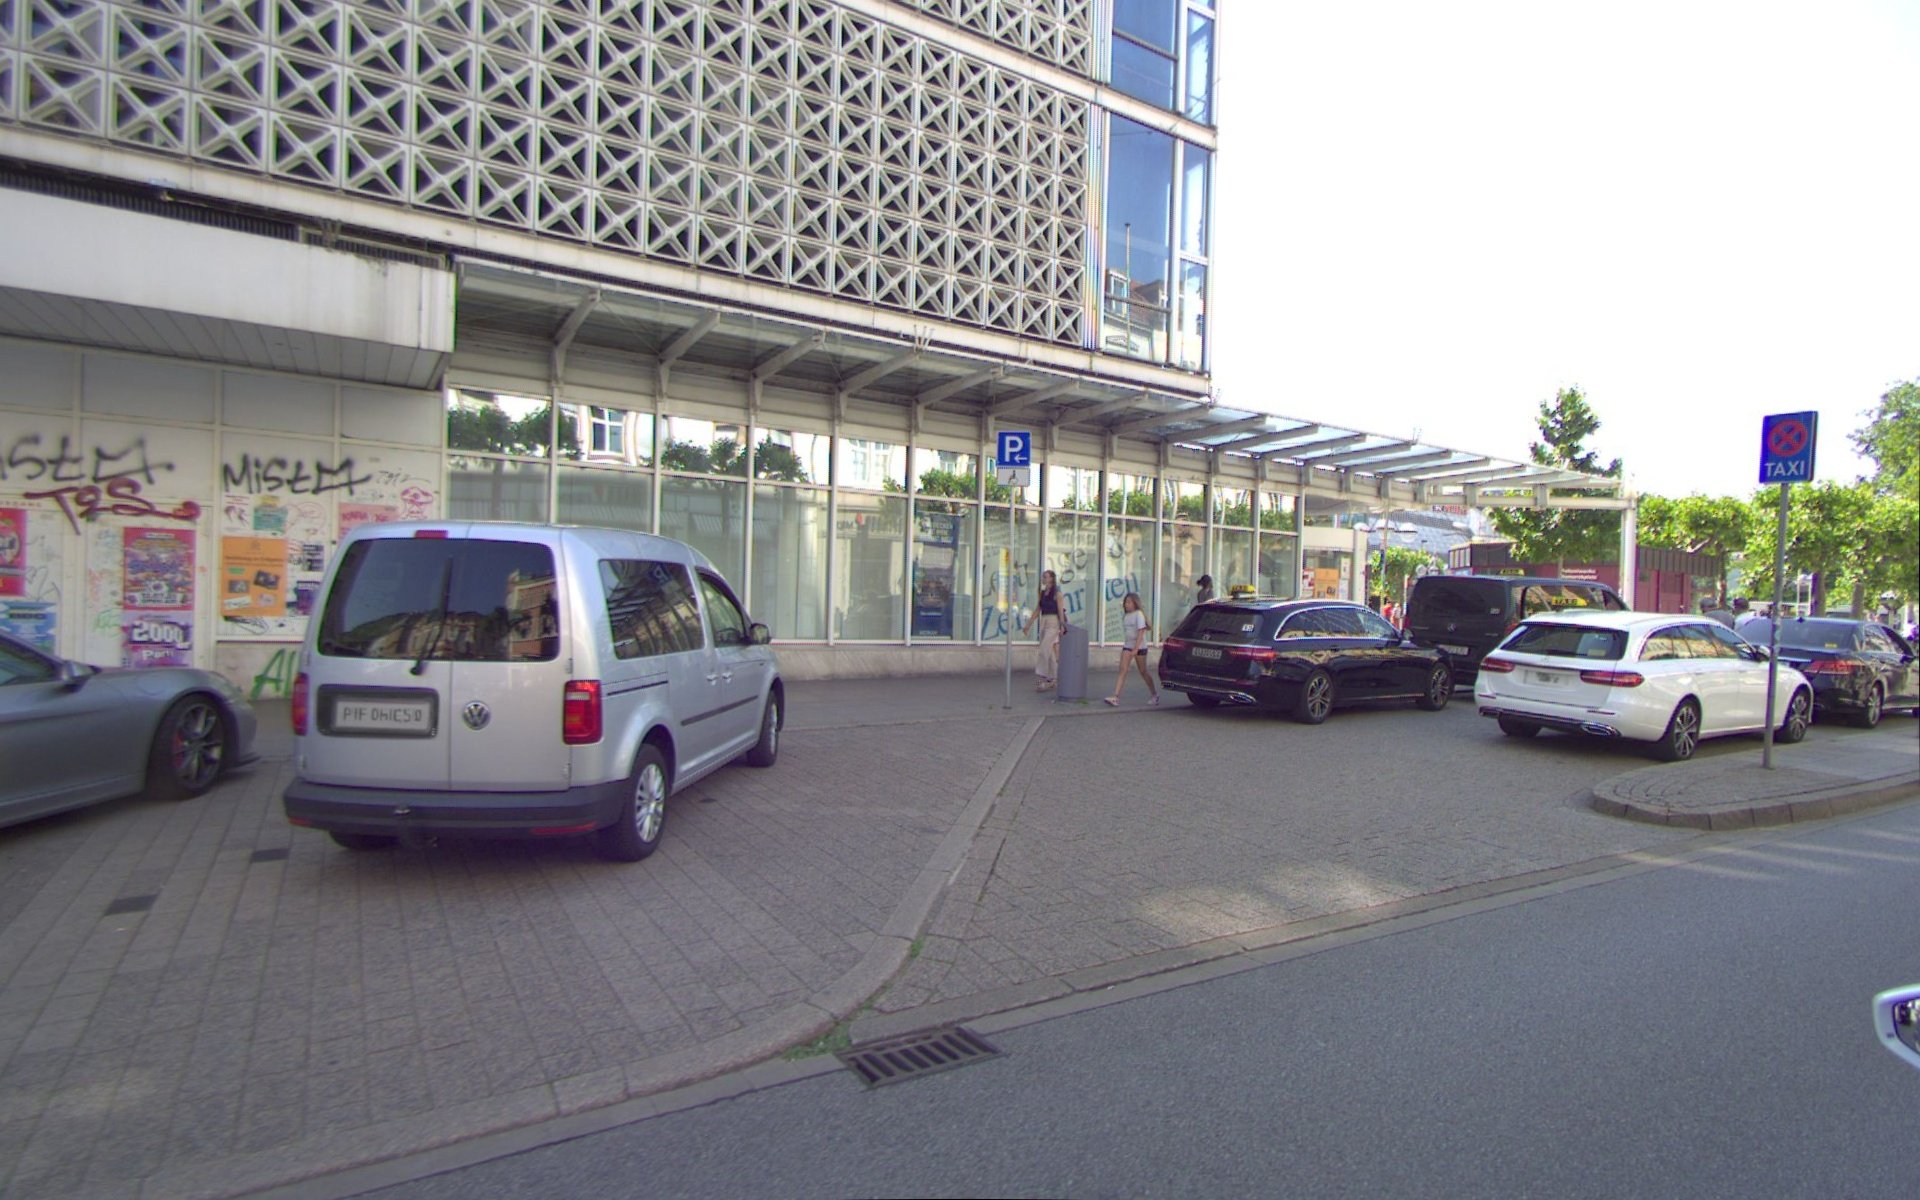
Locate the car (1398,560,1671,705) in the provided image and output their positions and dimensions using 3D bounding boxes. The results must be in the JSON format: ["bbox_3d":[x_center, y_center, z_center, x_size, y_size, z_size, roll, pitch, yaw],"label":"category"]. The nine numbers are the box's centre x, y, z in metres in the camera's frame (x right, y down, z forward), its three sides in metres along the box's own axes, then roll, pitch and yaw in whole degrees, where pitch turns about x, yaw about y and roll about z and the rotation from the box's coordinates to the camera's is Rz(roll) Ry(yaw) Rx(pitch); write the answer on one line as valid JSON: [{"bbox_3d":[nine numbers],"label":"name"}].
[{"bbox_3d":[9.305,0.490,16.165,4.633,2.040,1.822,1,0,-32],"label":"car"}]

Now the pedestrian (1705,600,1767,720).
[{"bbox_3d":[12.045,0.911,15.611,0.528,1.816,0.533,1,0,8],"label":"pedestrian"}]

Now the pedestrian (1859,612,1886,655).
[{"bbox_3d":[41.357,1.529,45.542,0.651,1.904,0.631,3,1,24],"label":"pedestrian"}]

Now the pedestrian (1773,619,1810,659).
[{"bbox_3d":[29.924,1.406,36.143,0.884,1.400,0.669,2,1,-23],"label":"pedestrian"}]

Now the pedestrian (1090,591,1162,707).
[{"bbox_3d":[2.164,0.631,13.116,0.635,1.455,0.589,3,0,-34],"label":"pedestrian"}]

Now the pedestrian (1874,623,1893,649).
[{"bbox_3d":[46.850,1.815,50.965,0.601,1.279,0.610,2,0,37],"label":"pedestrian"}]

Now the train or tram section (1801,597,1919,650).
[{"bbox_3d":[71.492,1.851,74.653,15.236,3.726,2.622,2,0,3],"label":"train or tram section"}]

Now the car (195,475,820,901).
[{"bbox_3d":[-2.441,0.386,6.884,1.969,1.935,4.448,1,0,5],"label":"car"}]

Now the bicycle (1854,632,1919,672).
[{"bbox_3d":[28.491,1.566,30.601,0.557,1.120,1.770,1,0,-34],"label":"bicycle"}]

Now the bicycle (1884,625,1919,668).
[{"bbox_3d":[30.644,1.488,31.912,0.656,1.326,1.770,1,0,-34],"label":"bicycle"}]

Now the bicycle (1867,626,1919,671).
[{"bbox_3d":[29.524,1.504,31.303,0.557,1.326,1.770,1,0,-34],"label":"bicycle"}]

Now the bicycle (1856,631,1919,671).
[{"bbox_3d":[28.988,1.581,31.097,0.557,1.147,1.770,1,0,-34],"label":"bicycle"}]

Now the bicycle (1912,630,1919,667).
[{"bbox_3d":[32.626,1.638,33.065,0.656,1.231,1.770,1,0,-34],"label":"bicycle"}]

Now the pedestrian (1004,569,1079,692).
[{"bbox_3d":[1.160,0.421,14.311,0.634,1.682,0.782,3,1,-34],"label":"pedestrian"}]

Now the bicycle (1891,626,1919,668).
[{"bbox_3d":[31.387,1.544,32.465,0.656,1.326,1.770,1,0,-34],"label":"bicycle"}]

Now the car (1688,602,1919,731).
[{"bbox_3d":[12.783,0.894,14.826,4.659,1.621,1.750,1,0,-33],"label":"car"}]

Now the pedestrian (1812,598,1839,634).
[{"bbox_3d":[43.178,0.783,50.111,0.788,1.772,0.606,3,0,0],"label":"pedestrian"}]

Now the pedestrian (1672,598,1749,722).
[{"bbox_3d":[11.299,0.888,15.144,0.679,1.816,0.620,1,0,8],"label":"pedestrian"}]

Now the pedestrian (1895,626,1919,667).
[{"bbox_3d":[41.750,2.040,44.230,0.598,1.762,0.574,2,1,-26],"label":"pedestrian"}]

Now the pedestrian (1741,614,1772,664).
[{"bbox_3d":[27.377,1.331,34.516,0.682,1.700,0.665,1,1,-40],"label":"pedestrian"}]

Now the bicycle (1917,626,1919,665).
[{"bbox_3d":[34.142,1.617,34.422,0.733,1.366,1.770,1,2,-34],"label":"bicycle"}]

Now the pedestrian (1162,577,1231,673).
[{"bbox_3d":[4.264,0.443,18.107,1.094,1.684,0.593,1,0,-31],"label":"pedestrian"}]

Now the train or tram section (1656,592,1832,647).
[{"bbox_3d":[58.693,1.459,75.380,10.781,3.726,2.622,2,0,4],"label":"train or tram section"}]

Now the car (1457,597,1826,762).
[{"bbox_3d":[8.000,0.793,11.658,4.686,1.543,1.789,1,1,-32],"label":"car"}]

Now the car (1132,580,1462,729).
[{"bbox_3d":[4.544,0.645,13.289,4.359,1.632,1.979,2,1,-37],"label":"car"}]

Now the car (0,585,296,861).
[{"bbox_3d":[-5.832,0.637,5.202,1.932,1.304,4.298,2,2,0],"label":"car"}]
